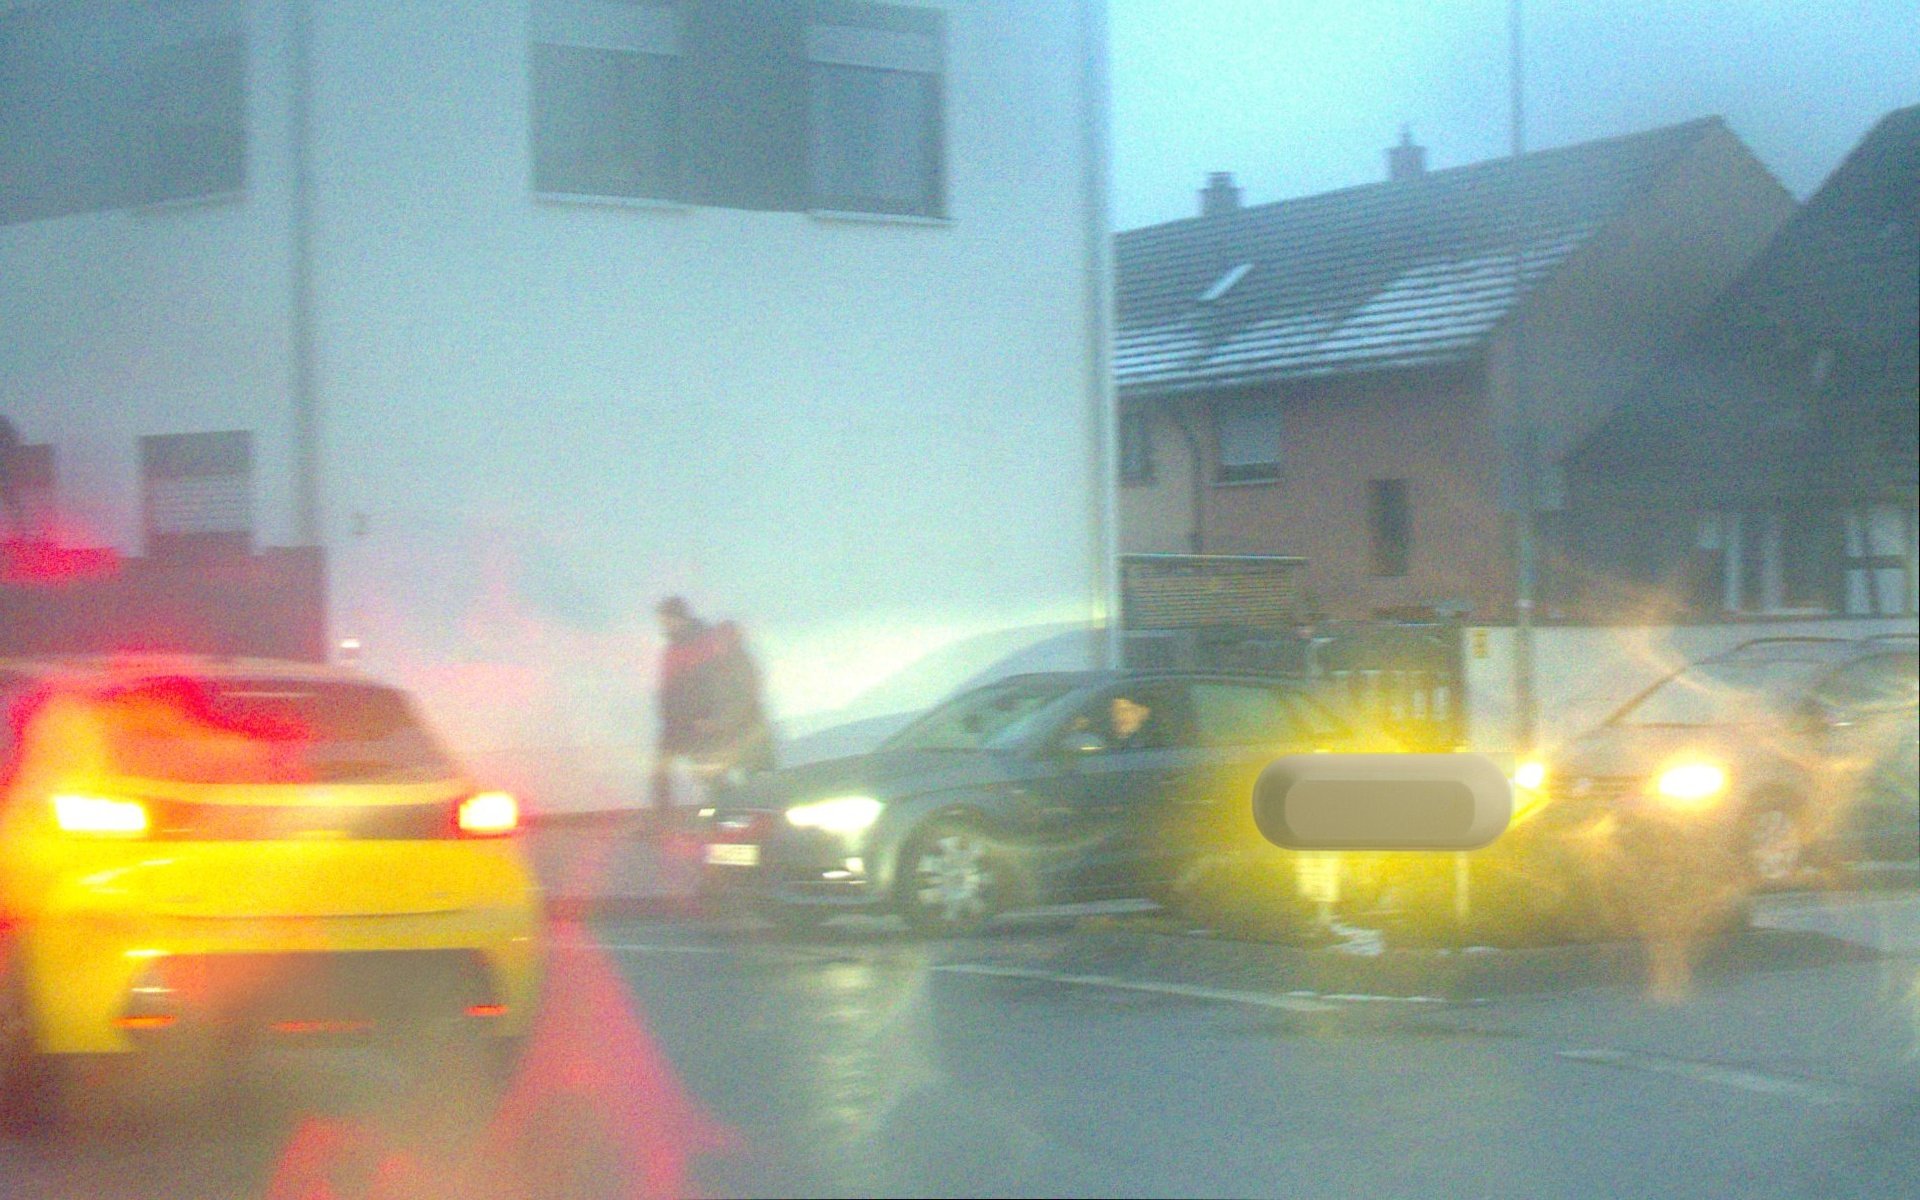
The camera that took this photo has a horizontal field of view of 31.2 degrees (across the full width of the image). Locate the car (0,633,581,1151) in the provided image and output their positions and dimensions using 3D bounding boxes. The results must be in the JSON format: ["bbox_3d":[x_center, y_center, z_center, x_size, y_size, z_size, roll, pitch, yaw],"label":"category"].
[{"bbox_3d":[-2.923,0.886,11.577,1.710,1.417,4.012,1,-3,-32],"label":"car"}]

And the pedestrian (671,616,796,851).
[{"bbox_3d":[-1.590,0.921,24.086,0.715,1.616,0.582,0,0,-24],"label":"pedestrian"}]

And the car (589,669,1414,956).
[{"bbox_3d":[0.281,1.108,18.841,4.221,1.379,1.850,0,-3,-36],"label":"car"}]

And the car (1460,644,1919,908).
[{"bbox_3d":[5.258,1.059,22.021,3.987,1.547,1.696,0,-1,-35],"label":"car"}]

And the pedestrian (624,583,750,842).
[{"bbox_3d":[-1.973,0.796,24.818,0.715,1.825,0.637,0,1,-24],"label":"pedestrian"}]
